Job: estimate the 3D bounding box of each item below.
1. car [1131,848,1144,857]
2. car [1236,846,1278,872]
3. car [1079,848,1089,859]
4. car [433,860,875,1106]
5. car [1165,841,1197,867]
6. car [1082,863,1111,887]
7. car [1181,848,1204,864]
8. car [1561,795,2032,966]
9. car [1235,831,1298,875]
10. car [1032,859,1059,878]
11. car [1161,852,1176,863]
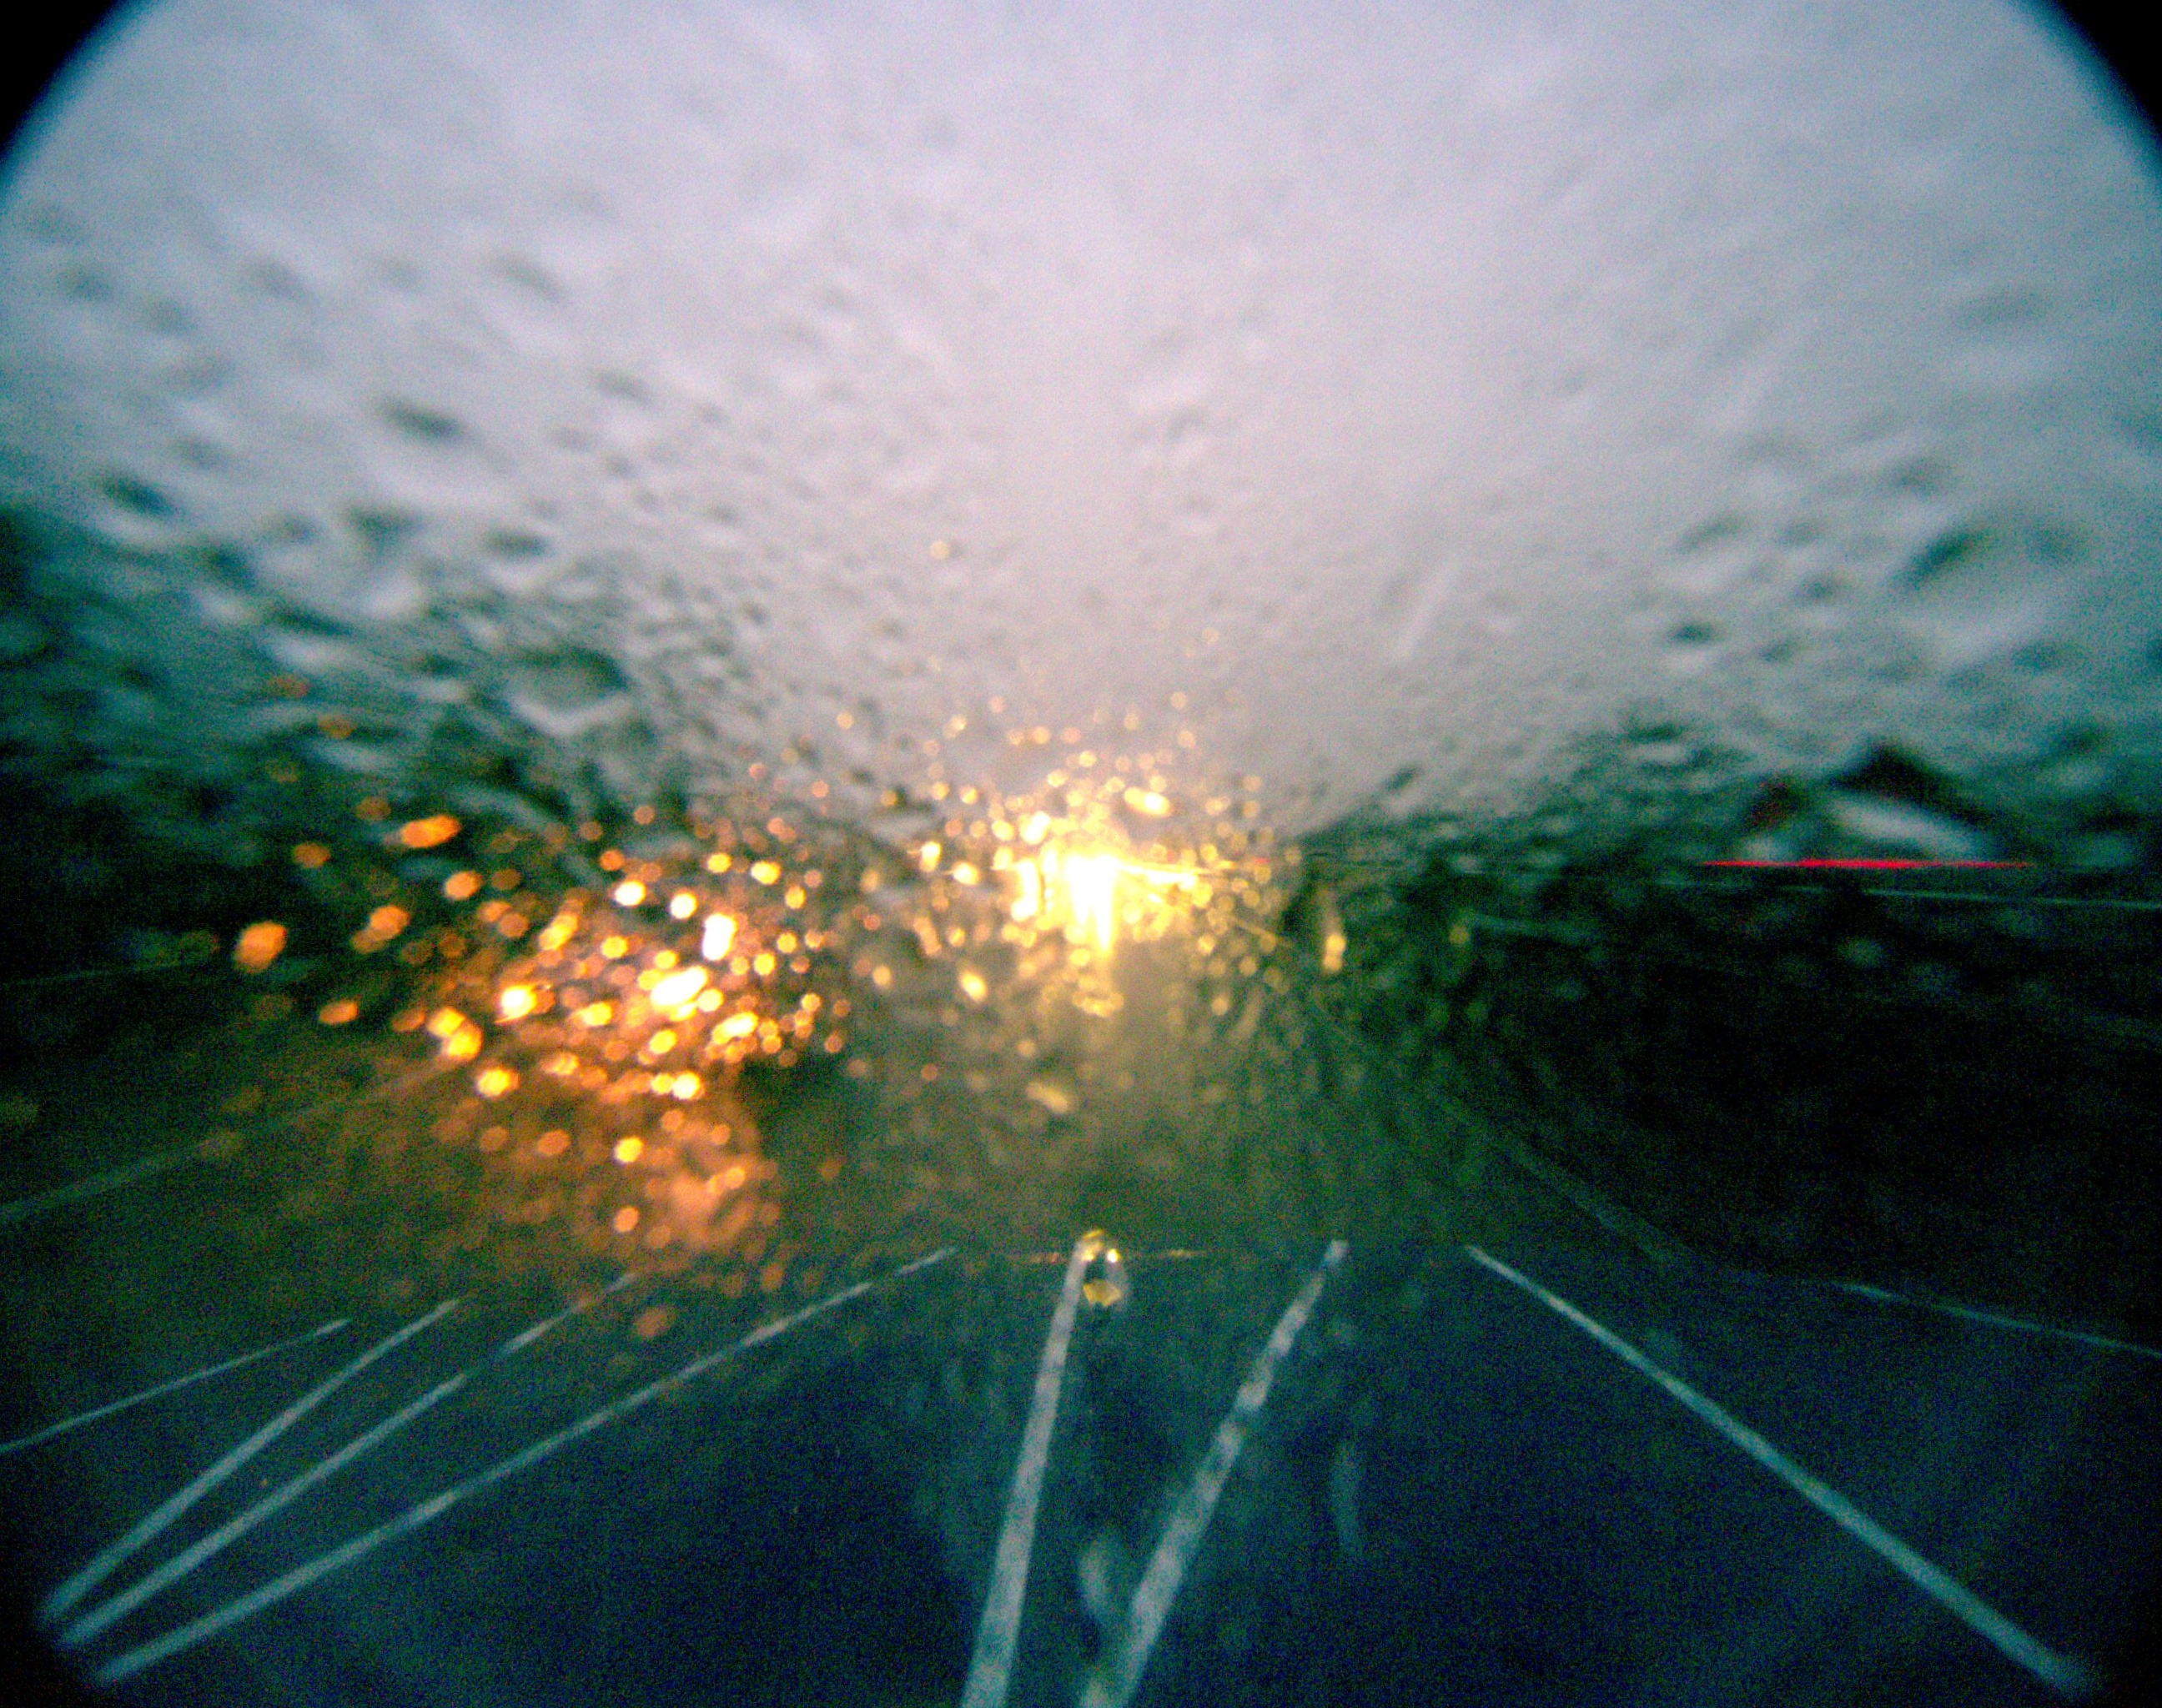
[{"bbox_3d":[9.913,-0.251,133.005,1.822,1.542,4.469,-2,-1,0],"label":"car"},{"bbox_3d":[12.831,0.348,55.692,2.075,1.781,4.339,-2,0,0],"label":"car"},{"bbox_3d":[0.599,-0.163,148.402,1.998,2.002,4.000,-2,0,0],"label":"car"},{"bbox_3d":[-3.428,0.887,7.202,1.850,1.445,4.147,-3,1,-2],"label":"car"},{"bbox_3d":[8.504,0.011,65.176,2.075,2.102,4.762,-2,0,0],"label":"car"},{"bbox_3d":[1.016,1.392,51.241,1.850,1.521,4.149,-2,-1,0],"label":"car"},{"bbox_3d":[13.825,0.221,94.452,2.075,1.781,4.847,-2,0,0],"label":"car"},{"bbox_3d":[8.776,0.269,10.043,2.075,1.701,4.399,-2,0,0],"label":"car"},{"bbox_3d":[9.635,-0.050,39.862,2.075,2.102,4.762,-2,0,0],"label":"car"},{"bbox_3d":[-2.937,1.199,63.797,1.850,1.521,4.150,-2,-1,3],"label":"car"},{"bbox_3d":[14.202,0.567,123.555,1.989,1.542,4.392,-2,-1,-1],"label":"car"}]
